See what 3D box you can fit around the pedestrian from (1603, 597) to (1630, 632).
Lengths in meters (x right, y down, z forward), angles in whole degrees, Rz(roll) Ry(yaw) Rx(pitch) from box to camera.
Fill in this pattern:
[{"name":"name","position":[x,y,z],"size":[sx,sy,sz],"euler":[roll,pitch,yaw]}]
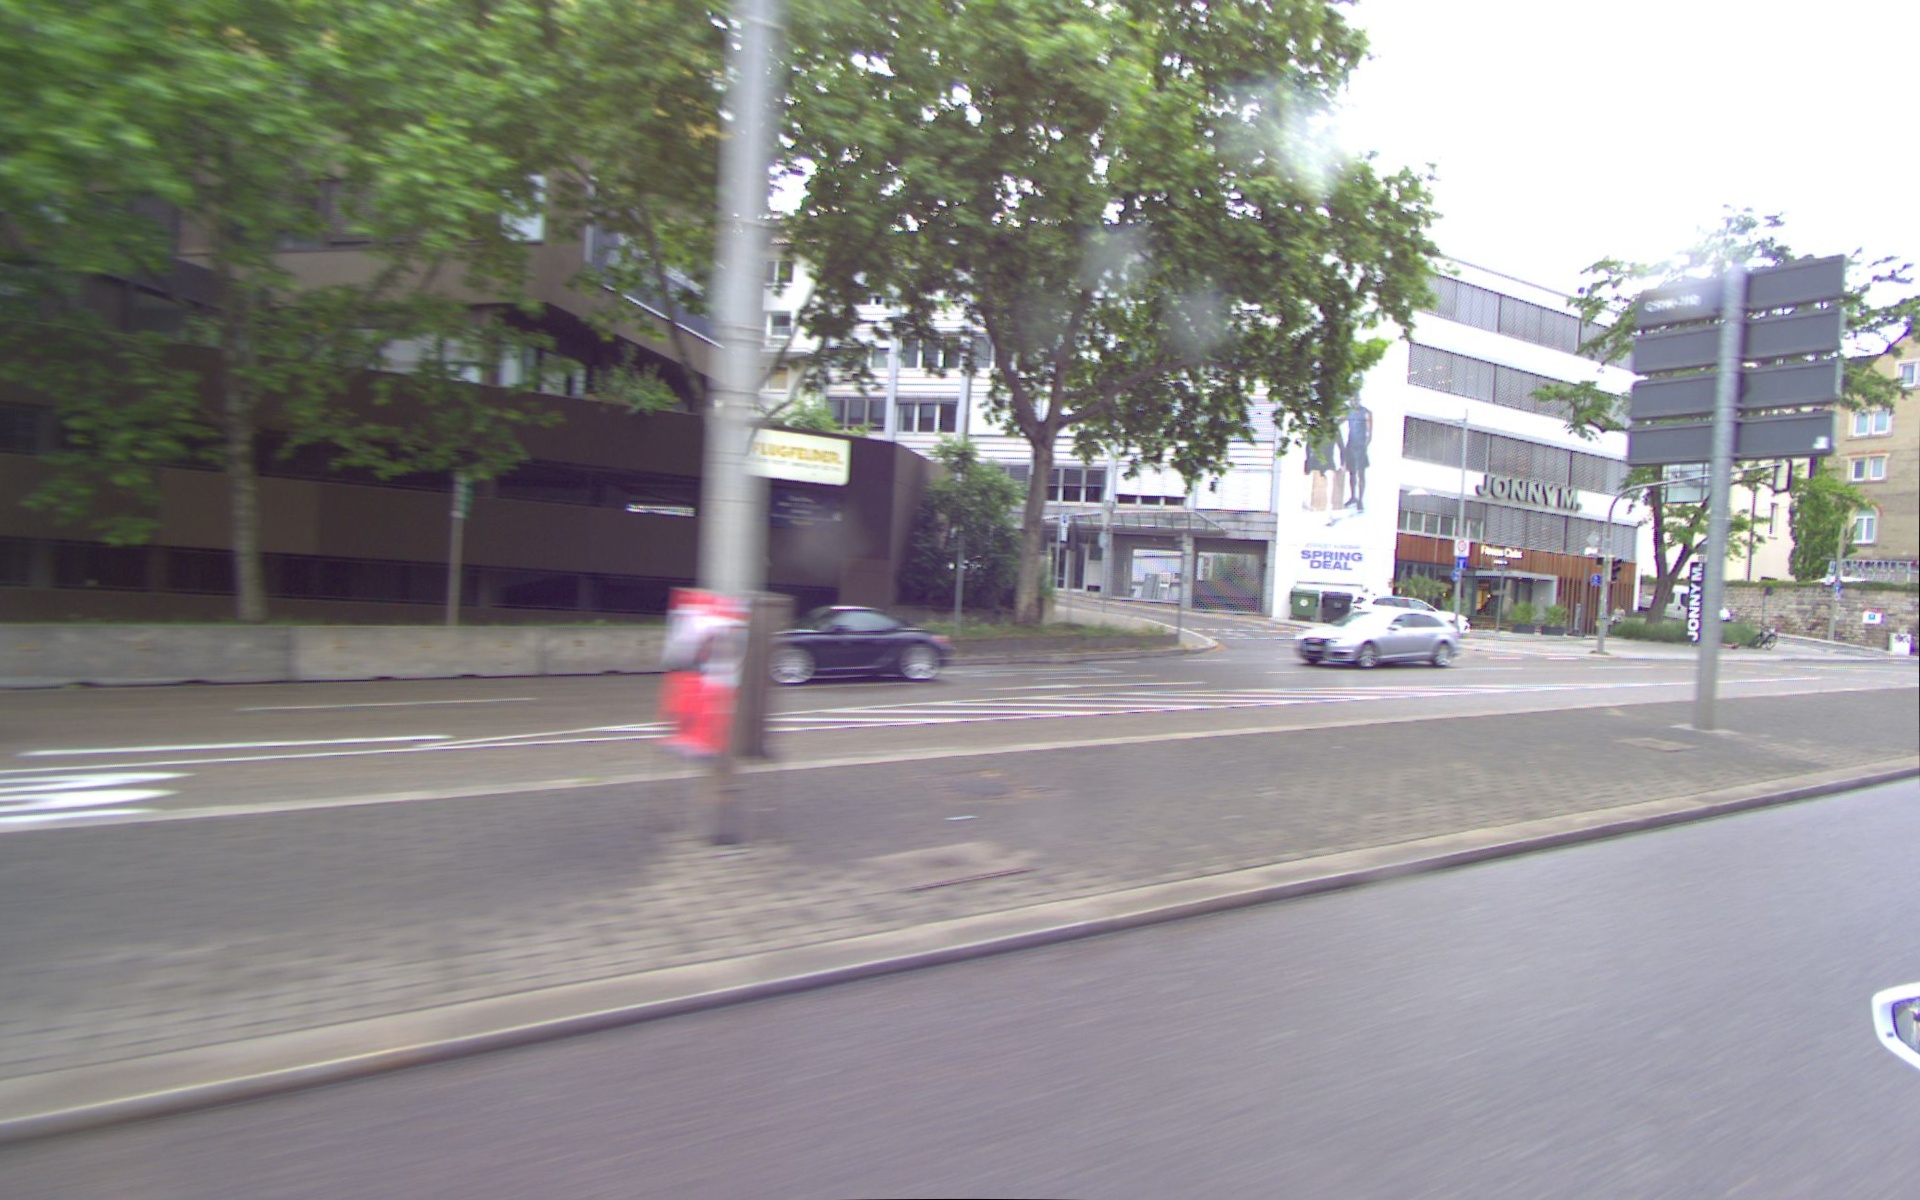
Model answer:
[{"name":"pedestrian","position":[32.140,0.701,49.180],"size":[0.831,1.663,0.765],"euler":[1,0,-28]}]

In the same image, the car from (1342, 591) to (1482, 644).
[{"name":"car","position":[18.200,0.675,40.683],"size":[4.746,1.676,2.001],"euler":[5,2,11]}]

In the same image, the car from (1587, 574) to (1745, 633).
[{"name":"car","position":[39.960,0.108,57.147],"size":[2.481,2.307,6.876],"euler":[-1,9,-26]}]

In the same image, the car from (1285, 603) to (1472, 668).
[{"name":"car","position":[10.523,0.858,25.137],"size":[4.830,1.466,1.982],"euler":[1,0,-34]}]

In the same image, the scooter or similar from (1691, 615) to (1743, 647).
[{"name":"scooter or similar","position":[33.293,1.355,44.189],"size":[1.726,1.263,0.369],"euler":[6,3,34]}]

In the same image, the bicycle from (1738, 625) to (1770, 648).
[{"name":"bicycle","position":[36.696,1.671,46.421],"size":[1.736,1.004,0.455],"euler":[2,1,-28]}]

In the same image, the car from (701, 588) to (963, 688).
[{"name":"car","position":[-2.161,0.617,17.301],"size":[4.122,1.539,1.745],"euler":[1,0,-31]}]
